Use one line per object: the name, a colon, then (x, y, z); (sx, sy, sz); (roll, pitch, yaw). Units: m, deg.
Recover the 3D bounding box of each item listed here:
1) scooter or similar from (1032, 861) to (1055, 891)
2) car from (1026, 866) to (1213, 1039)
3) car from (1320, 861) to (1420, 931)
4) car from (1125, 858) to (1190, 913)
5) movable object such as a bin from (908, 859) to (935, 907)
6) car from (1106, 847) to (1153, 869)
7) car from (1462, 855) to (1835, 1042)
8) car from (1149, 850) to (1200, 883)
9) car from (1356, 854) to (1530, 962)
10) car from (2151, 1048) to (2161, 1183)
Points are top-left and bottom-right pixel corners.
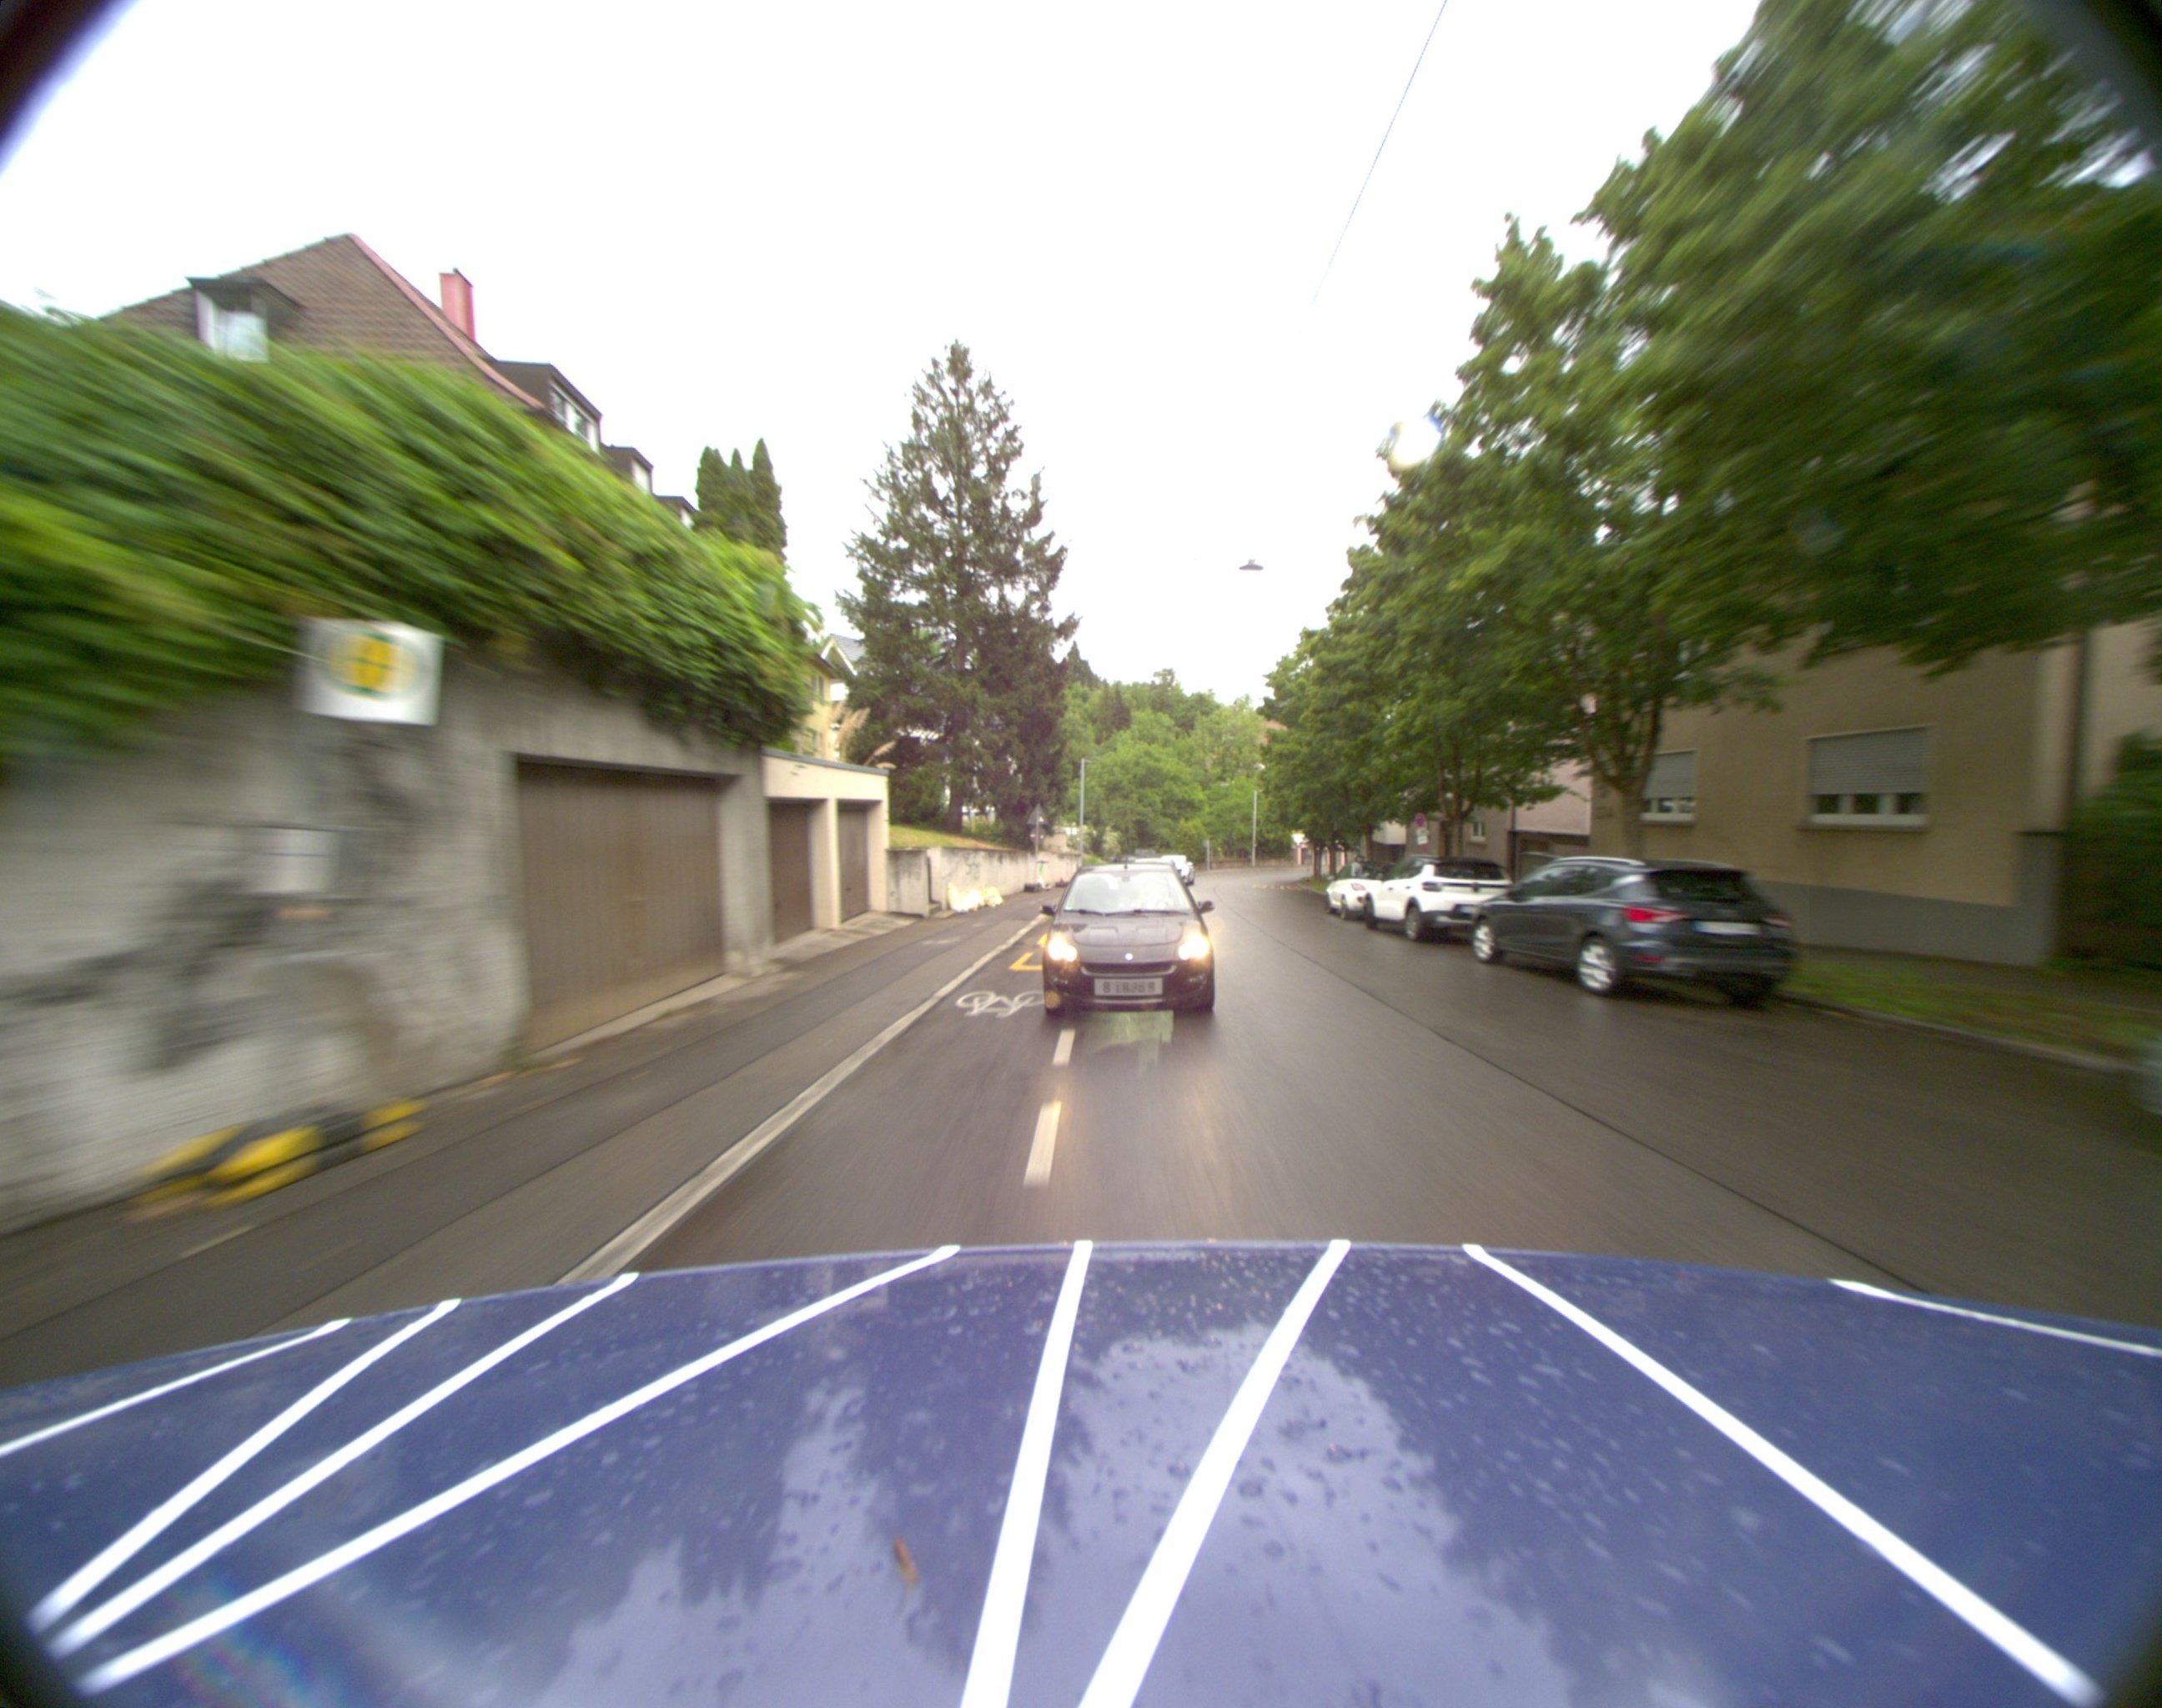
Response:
scooter or similar: (-1.445, 0.837, 29.464); (0.599, 1.126, 1.371); (1, 1, 9)
car: (0.624, 0.905, 8.388); (1.577, 1.443, 3.590); (-2, -1, 10)
car: (7.368, 1.002, 19.706); (1.620, 1.463, 3.671); (5, 1, 9)
car: (2.310, 0.896, 23.506); (1.807, 1.480, 4.018); (1, 0, 4)
movable object such as a bin: (-3.765, 0.676, 17.941); (0.482, 1.086, 0.493); (1, 1, 4)
car: (3.924, 0.300, 61.654); (3.462, 1.623, 1.581); (3, 2, 15)
car: (6.437, 0.909, 9.286); (1.621, 1.649, 3.924); (4, 1, 2)
car: (5.113, 0.613, 41.072); (2.010, 1.652, 4.451); (1, 0, 16)
car: (6.832, 0.921, 14.835); (1.596, 1.649, 3.924); (5, 1, 4)
car: (6.155, 0.966, 1.780); (1.622, 1.462, 3.971); (3, 1, 1)
